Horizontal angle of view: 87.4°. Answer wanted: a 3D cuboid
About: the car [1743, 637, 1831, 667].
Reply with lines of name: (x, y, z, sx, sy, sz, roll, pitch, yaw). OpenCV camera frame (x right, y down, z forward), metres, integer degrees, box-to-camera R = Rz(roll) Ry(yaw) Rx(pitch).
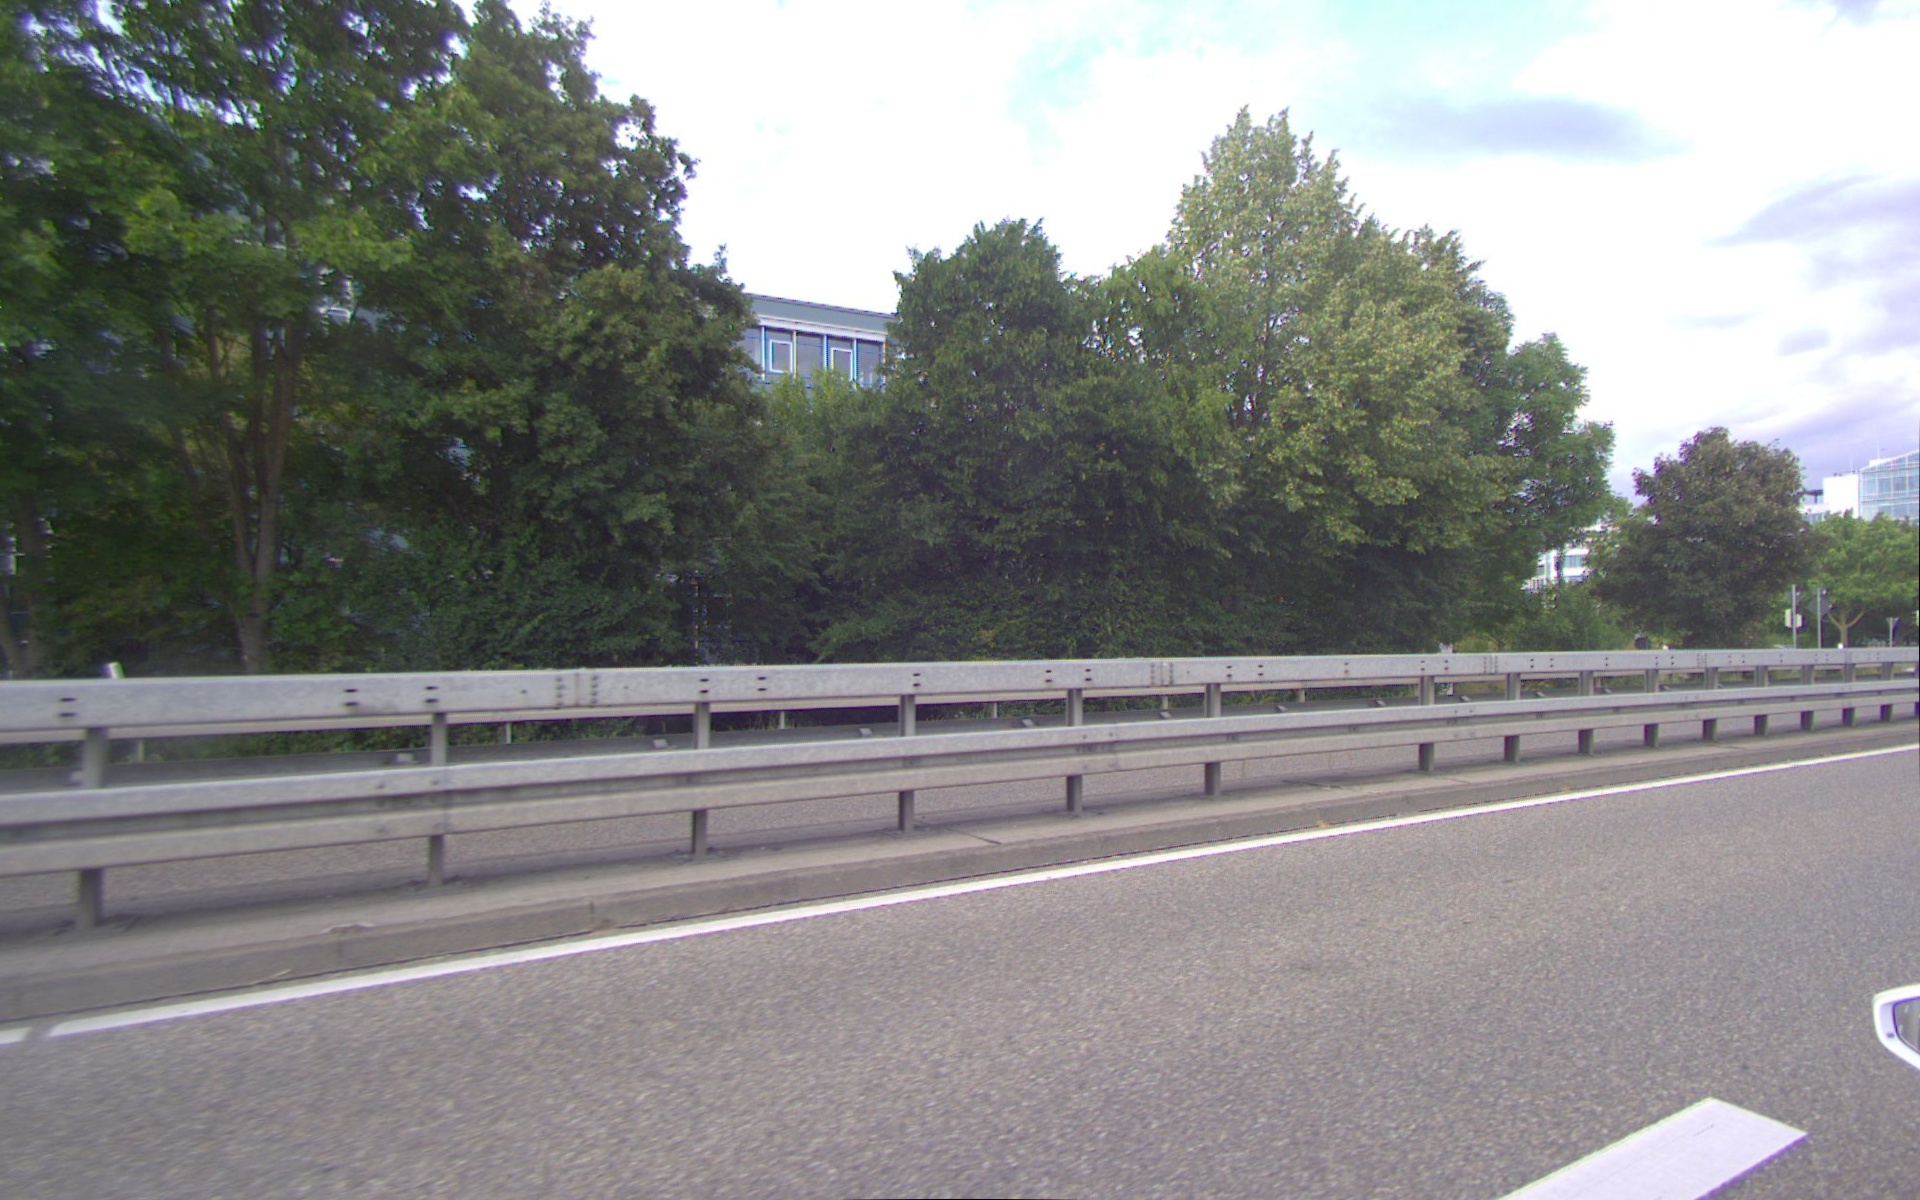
car: (46.916, 2.923, 57.001, 1.721, 1.560, 3.676, 1, -1, -42)
